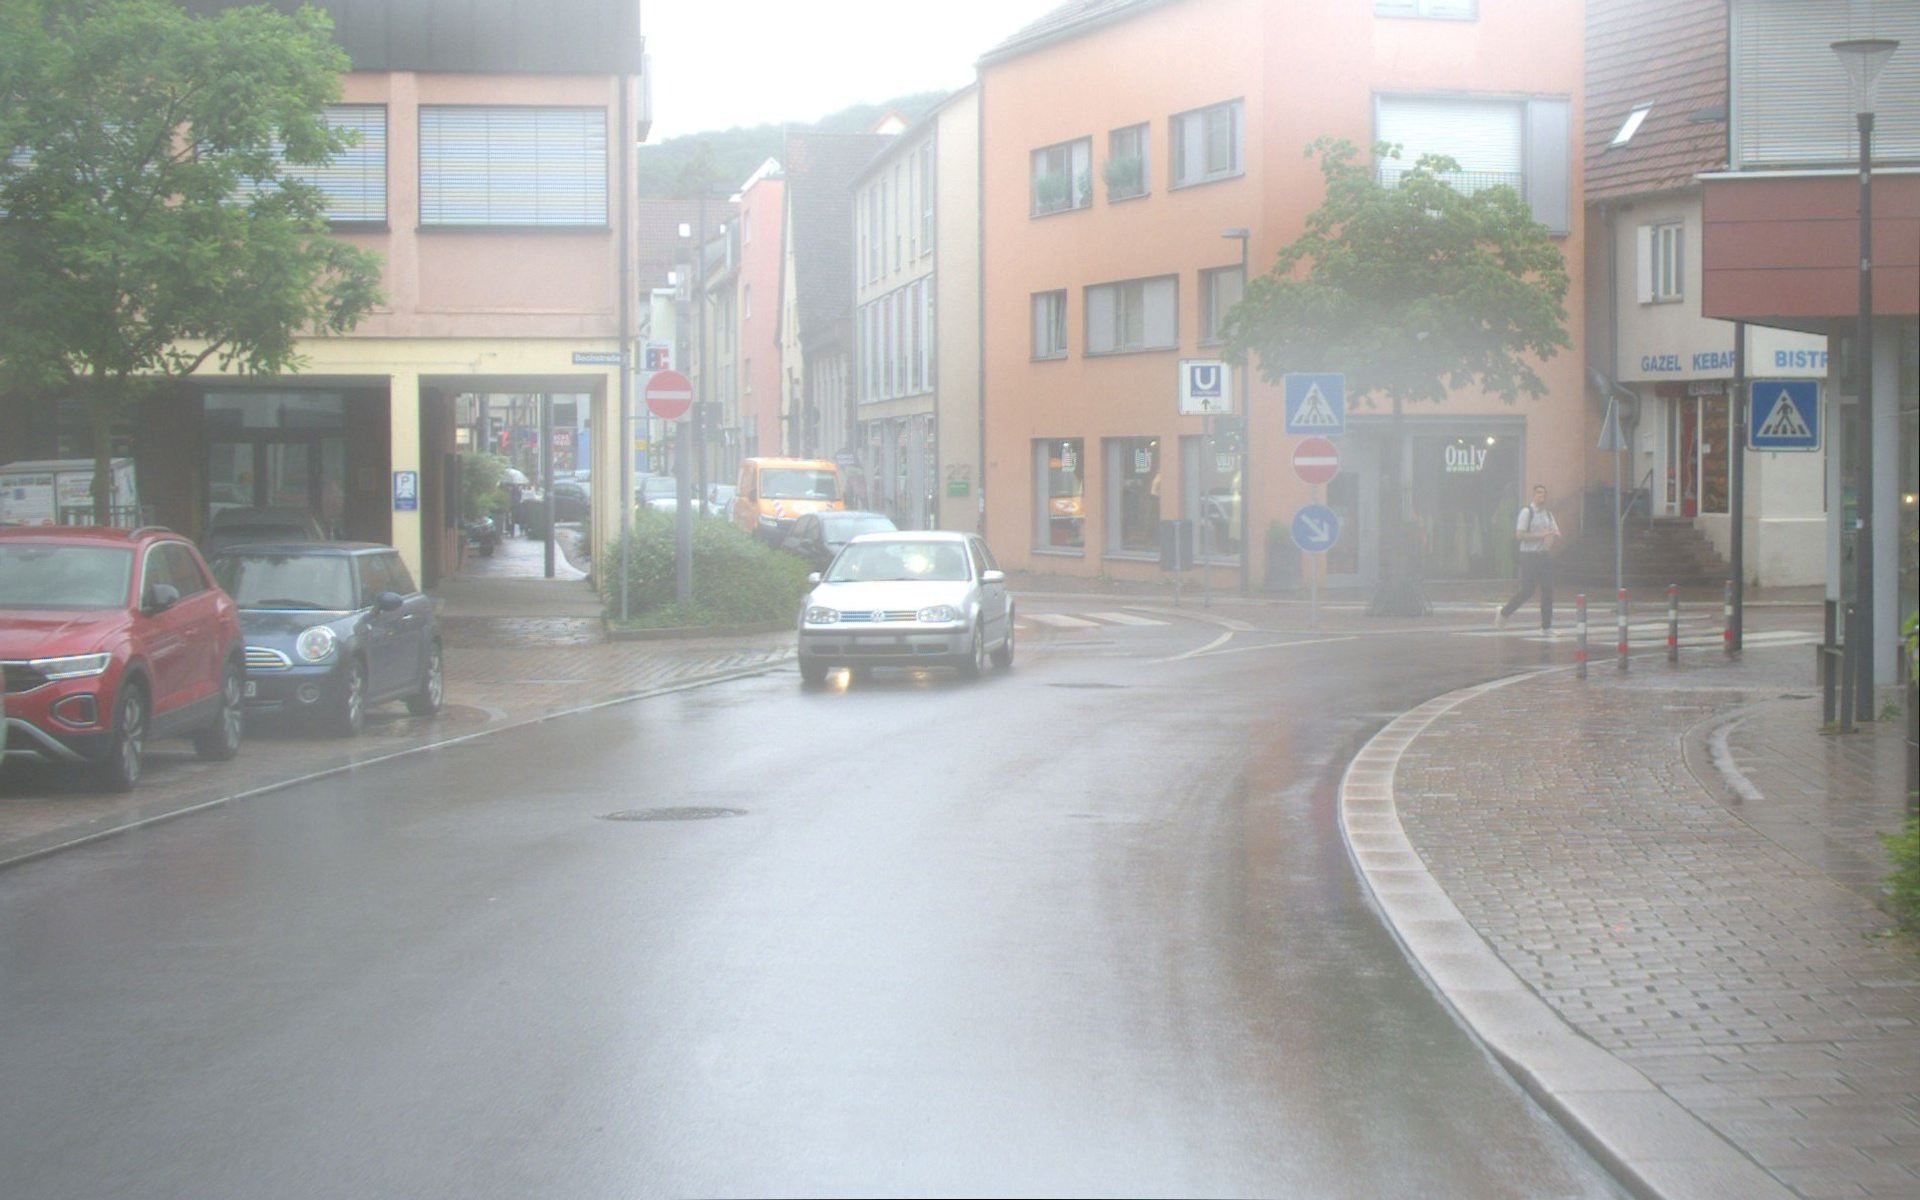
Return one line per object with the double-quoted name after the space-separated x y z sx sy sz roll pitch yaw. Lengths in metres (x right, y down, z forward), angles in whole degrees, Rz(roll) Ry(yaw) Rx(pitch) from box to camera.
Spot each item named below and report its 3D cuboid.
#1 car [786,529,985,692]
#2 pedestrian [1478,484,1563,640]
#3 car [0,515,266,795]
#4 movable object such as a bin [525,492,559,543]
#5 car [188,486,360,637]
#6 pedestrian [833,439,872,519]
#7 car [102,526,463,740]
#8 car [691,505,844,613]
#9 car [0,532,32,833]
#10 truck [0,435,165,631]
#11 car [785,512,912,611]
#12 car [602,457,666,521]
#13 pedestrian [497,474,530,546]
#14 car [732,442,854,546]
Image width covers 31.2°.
-0.732 0.056 33.906 1.790 1.412 4.029 -2 2 -1 "car"
6.907 -0.478 42.341 0.862 1.908 0.757 1 2 23 "pedestrian"
-5.697 0.270 21.380 1.786 1.571 4.107 -1 1 2 "car"
-11.293 -2.232 92.847 0.834 1.377 0.854 -1 2 -12 "movable object such as a bin"
-8.300 -0.506 41.841 1.577 1.474 3.825 0 6 -4 "car"
-2.737 -3.077 87.478 0.866 2.006 0.708 0 2 -11 "pedestrian"
-5.102 0.190 26.380 1.715 1.453 3.910 1 2 4 "car"
-2.811 -0.618 49.468 1.714 1.453 3.911 1 2 -10 "car"
-5.737 0.459 15.435 1.786 1.493 4.454 -1 1 2 "car"
-10.709 -0.854 41.669 1.596 2.055 3.194 -2 6 -5 "truck"
-1.779 -0.637 53.754 1.648 1.440 3.985 -2 2 -6 "car"
-10.728 -3.633 113.135 1.993 2.006 4.364 -2 2 -5 "car"
-12.513 -2.519 96.333 0.834 2.006 0.854 -1 2 -12 "pedestrian"
-3.692 -2.309 75.308 2.103 2.139 4.868 -2 2 -9 "car"
